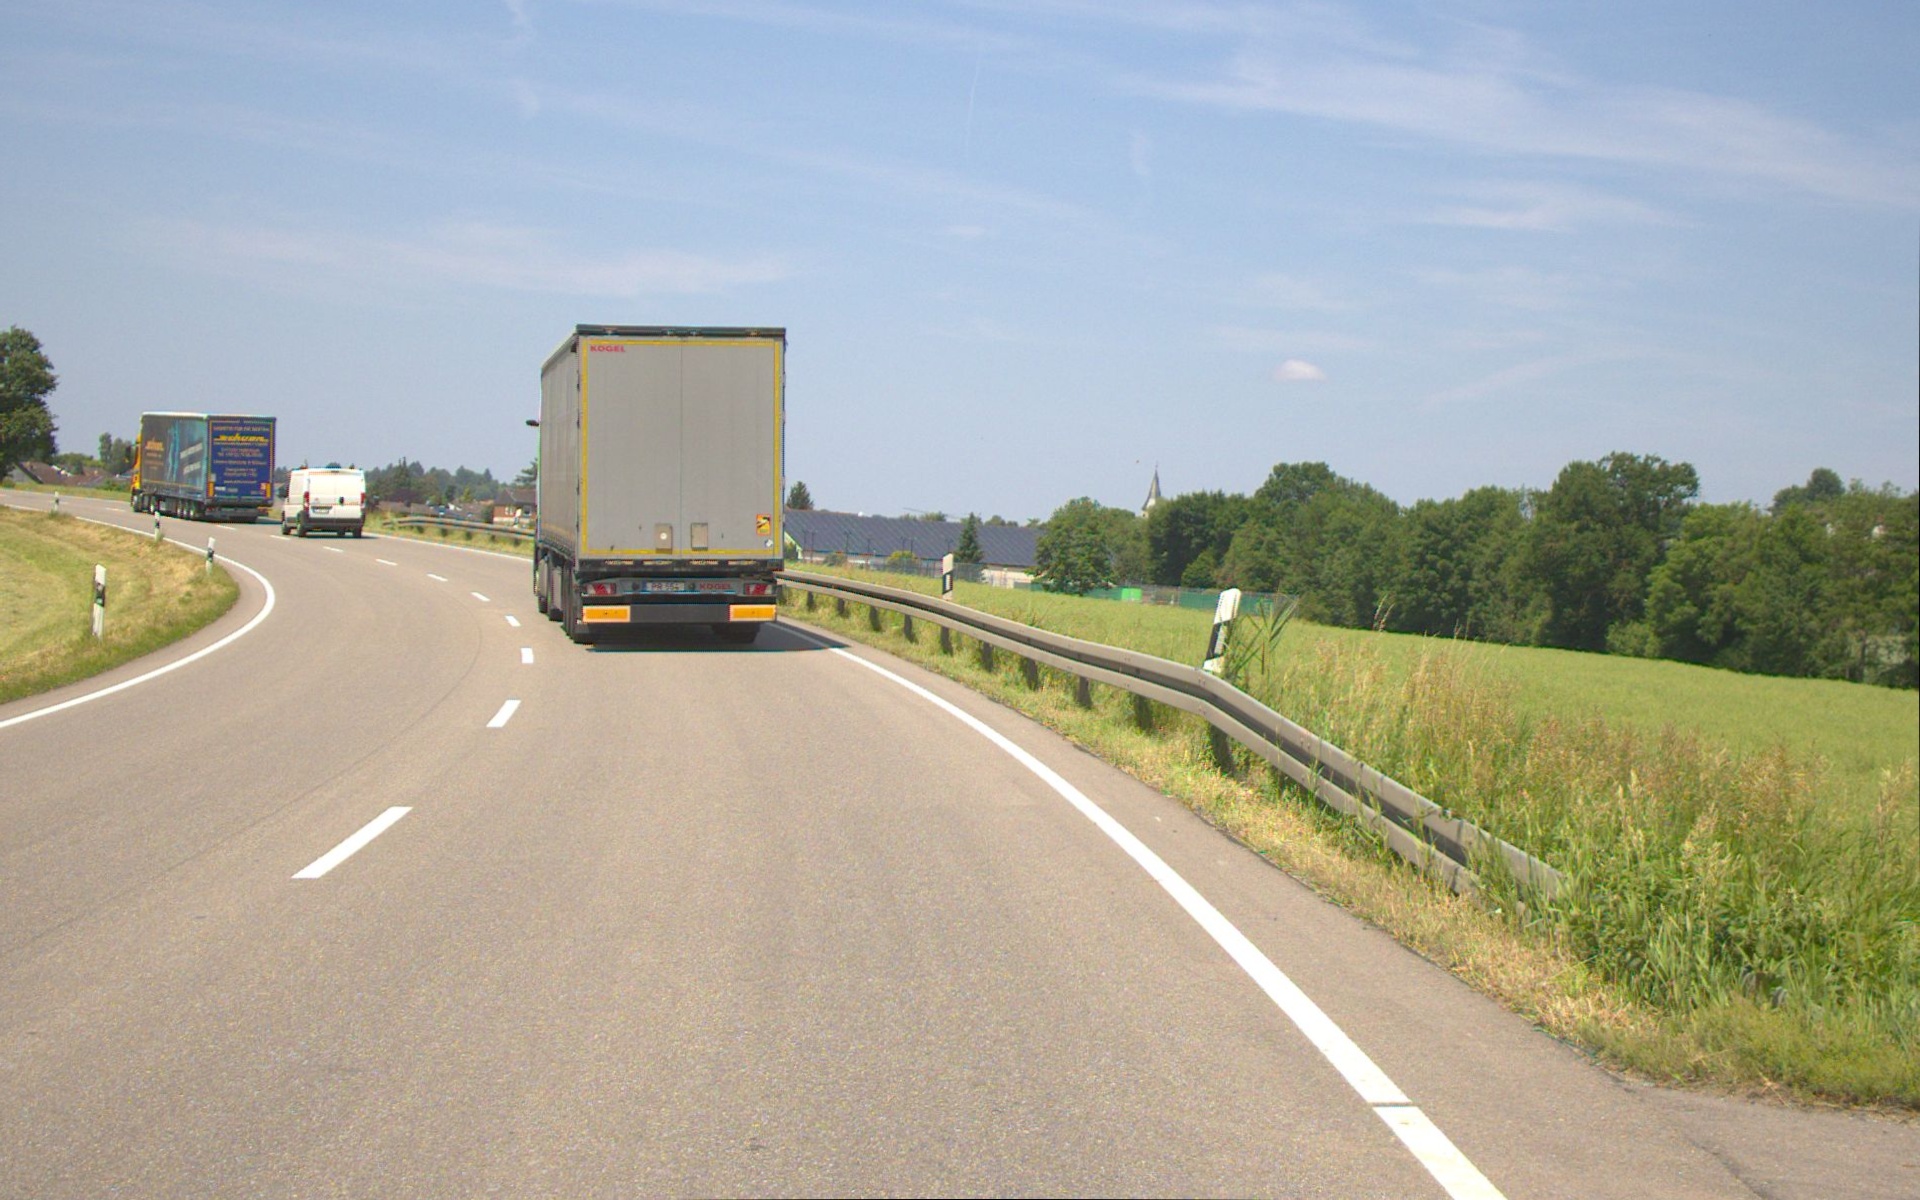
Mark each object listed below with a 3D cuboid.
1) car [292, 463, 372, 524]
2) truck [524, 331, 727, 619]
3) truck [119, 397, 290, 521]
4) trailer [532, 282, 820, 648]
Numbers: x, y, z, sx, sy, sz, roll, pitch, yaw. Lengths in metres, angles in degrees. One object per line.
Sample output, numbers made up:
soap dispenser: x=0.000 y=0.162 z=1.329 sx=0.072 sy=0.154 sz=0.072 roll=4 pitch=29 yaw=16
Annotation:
car: x=-20.580 y=-3.459 z=112.536 sx=1.725 sy=1.866 sz=4.001 roll=2 pitch=0 yaw=-22
truck: x=-5.440 y=-1.979 z=55.237 sx=2.858 sy=4.385 sz=5.073 roll=0 pitch=1 yaw=-10
truck: x=-29.866 y=-5.514 z=135.053 sx=3.548 sy=4.377 sz=18.127 roll=2 pitch=1 yaw=-22
trailer: x=-4.260 y=-1.785 z=48.274 sx=2.866 sy=4.385 sz=13.497 roll=0 pitch=1 yaw=-10
